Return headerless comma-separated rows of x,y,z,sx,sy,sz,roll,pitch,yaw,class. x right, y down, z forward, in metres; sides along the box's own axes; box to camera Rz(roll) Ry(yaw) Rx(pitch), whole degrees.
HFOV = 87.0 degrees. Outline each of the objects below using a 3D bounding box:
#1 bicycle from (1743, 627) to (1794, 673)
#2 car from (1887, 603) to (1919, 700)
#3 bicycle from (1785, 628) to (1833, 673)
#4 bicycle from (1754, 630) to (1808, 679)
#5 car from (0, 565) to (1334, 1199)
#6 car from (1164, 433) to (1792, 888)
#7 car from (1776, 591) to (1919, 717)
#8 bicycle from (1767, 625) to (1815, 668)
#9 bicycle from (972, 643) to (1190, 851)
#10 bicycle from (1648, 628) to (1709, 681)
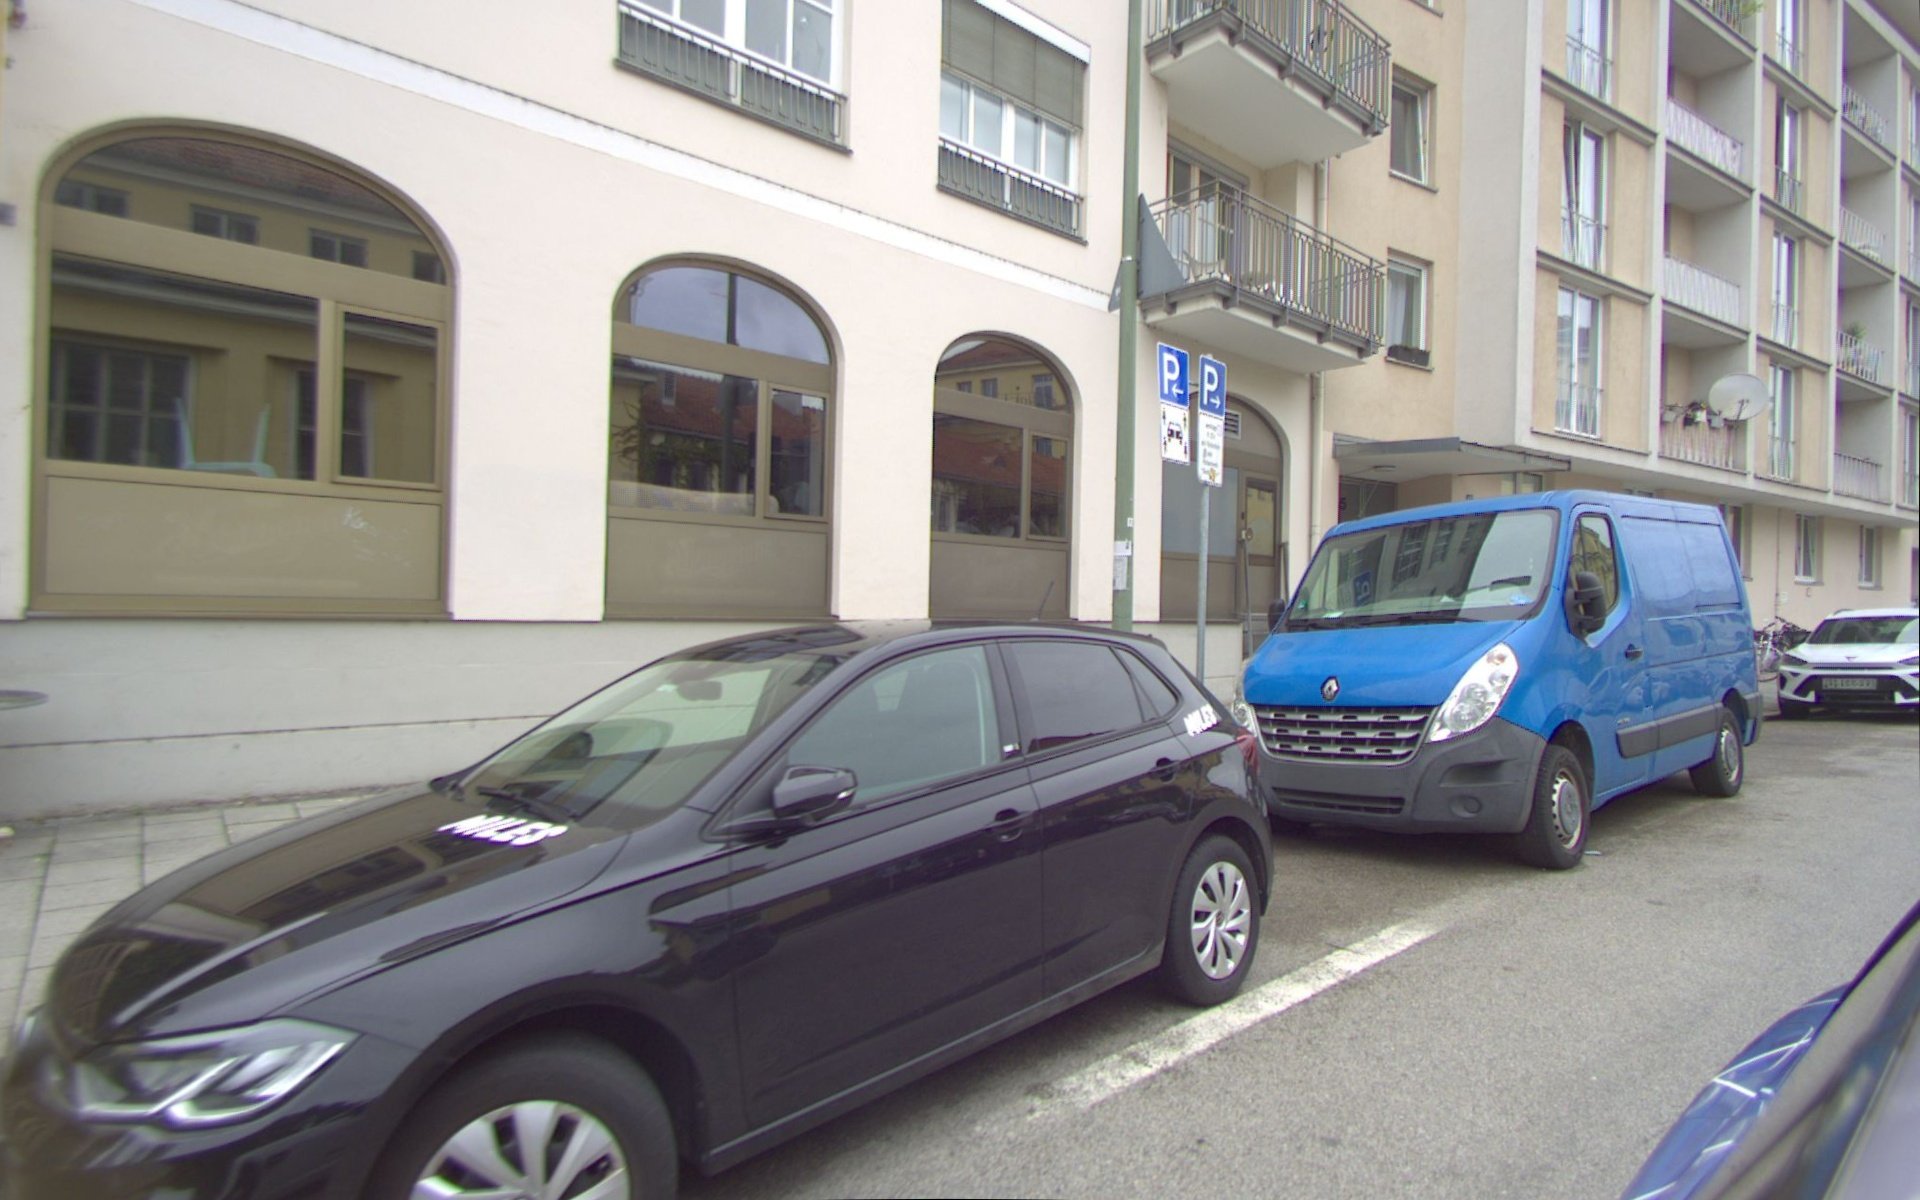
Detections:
16.868,1.033,21.104,1.364,0.916,0.379,1,0,-32,bicycle
17.743,0.843,17.017,5.062,1.542,1.886,1,-3,-32,car
18.155,1.074,21.632,1.364,0.916,0.379,1,0,-32,bicycle
16.262,1.072,20.038,1.364,0.916,0.379,1,1,-32,bicycle
-0.537,0.705,3.390,4.235,1.407,1.677,1,-3,-45,car
4.049,0.289,7.459,5.150,2.262,2.083,-1,-2,-39,car
13.306,0.715,14.259,4.562,1.553,1.789,1,-3,-38,car
18.238,1.015,22.197,1.364,0.916,0.379,1,0,-32,bicycle
0.902,0.928,7.052,0.618,1.160,1.852,4,2,36,bicycle
13.044,0.970,18.360,1.364,0.916,0.379,1,0,-32,bicycle
